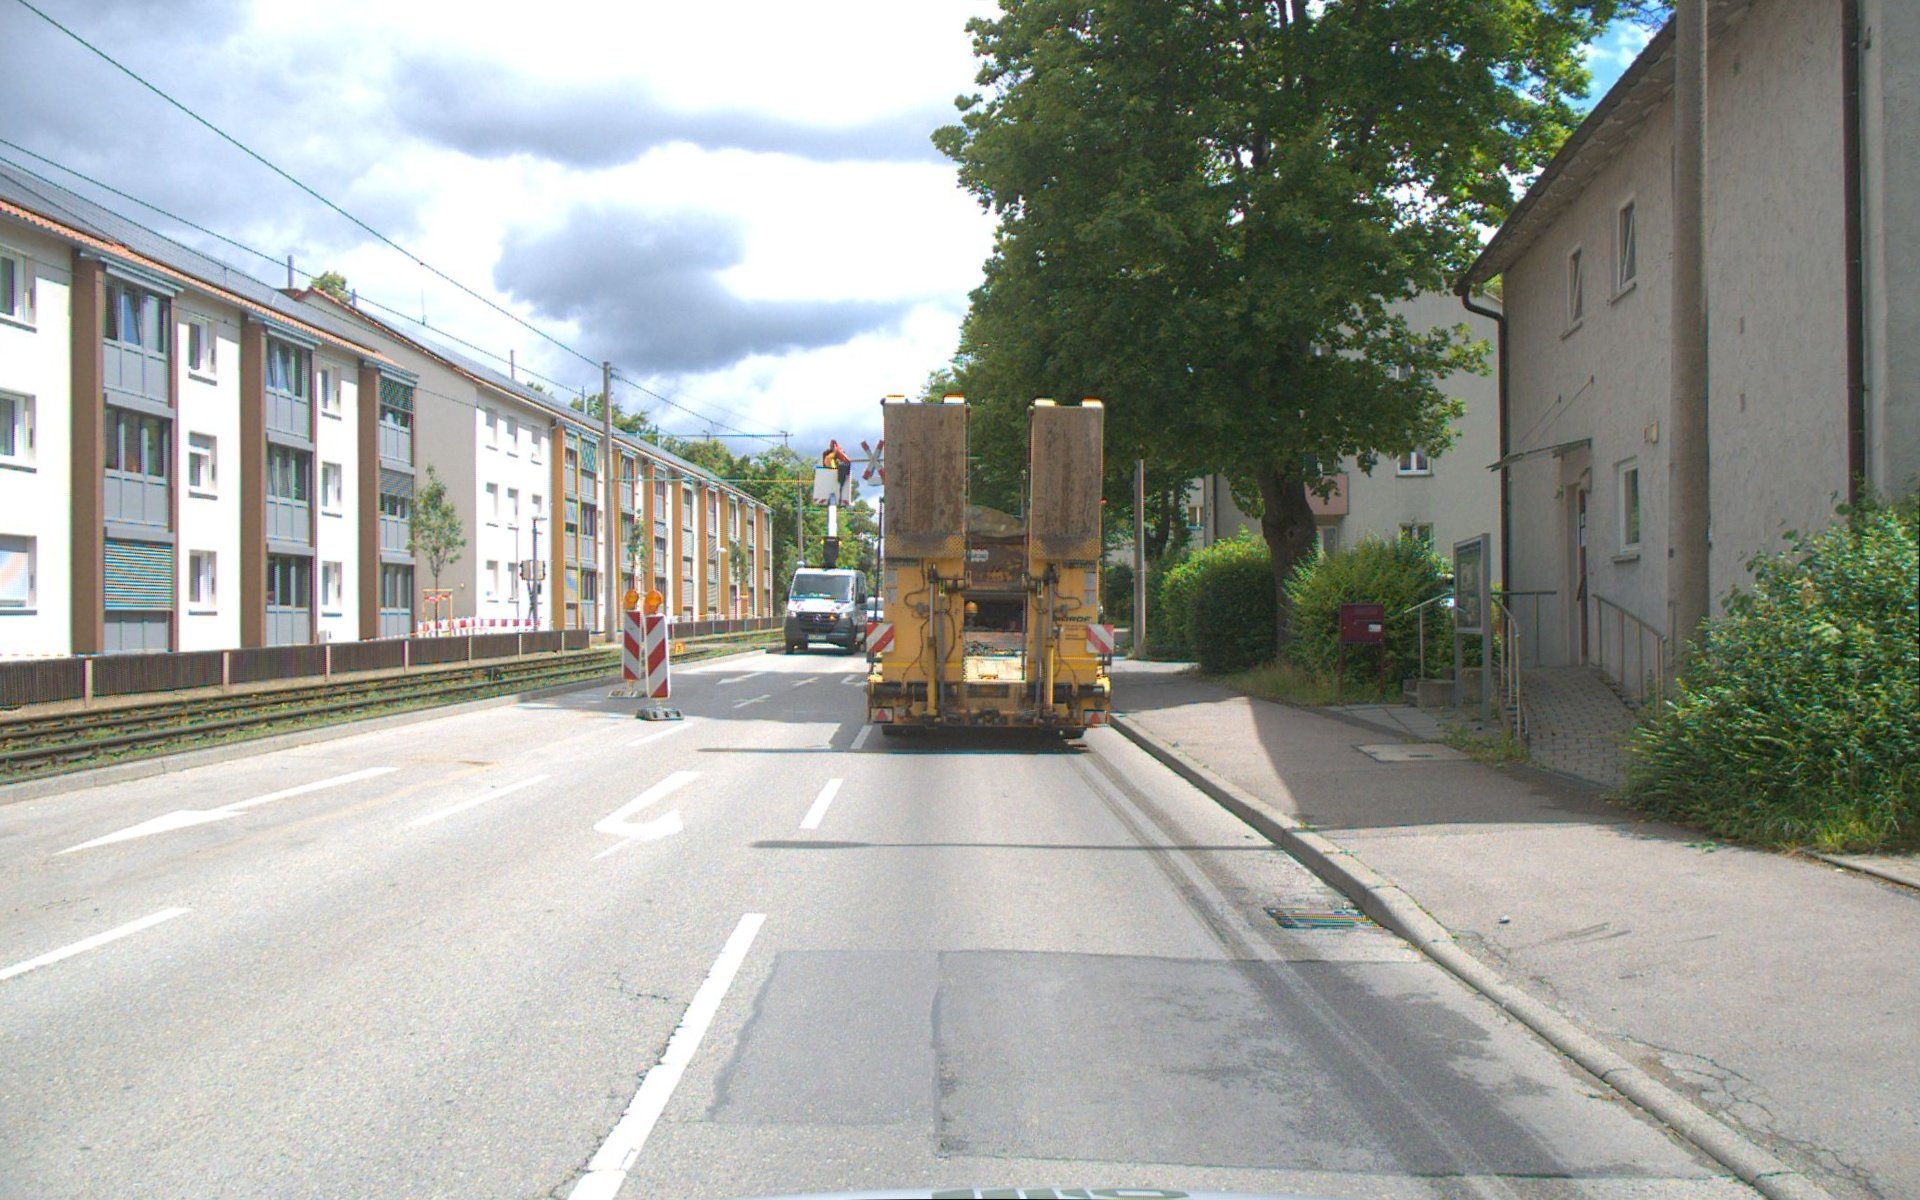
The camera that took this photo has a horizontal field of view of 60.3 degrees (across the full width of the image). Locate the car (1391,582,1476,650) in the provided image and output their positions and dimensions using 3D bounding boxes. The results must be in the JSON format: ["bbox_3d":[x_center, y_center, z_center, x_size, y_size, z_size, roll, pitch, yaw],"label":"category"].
[{"bbox_3d":[11.307,0.373,39.673,1.627,1.506,3.695,-2,0,11],"label":"car"}]

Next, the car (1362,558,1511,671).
[{"bbox_3d":[7.701,0.240,27.057,1.773,1.678,4.003,-2,-1,8],"label":"car"}]

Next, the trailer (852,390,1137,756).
[{"bbox_3d":[0.388,-0.249,21.999,2.765,3.586,11.051,1,0,0],"label":"trailer"}]

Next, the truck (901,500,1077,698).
[{"bbox_3d":[0.531,-0.003,31.353,2.857,3.222,7.680,1,0,1],"label":"truck"}]

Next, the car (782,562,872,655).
[{"bbox_3d":[-3.719,0.245,47.438,1.952,2.473,6.322,1,0,1],"label":"car"}]

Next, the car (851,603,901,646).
[{"bbox_3d":[-3.138,0.916,62.658,1.683,1.579,3.917,1,0,0],"label":"car"}]
